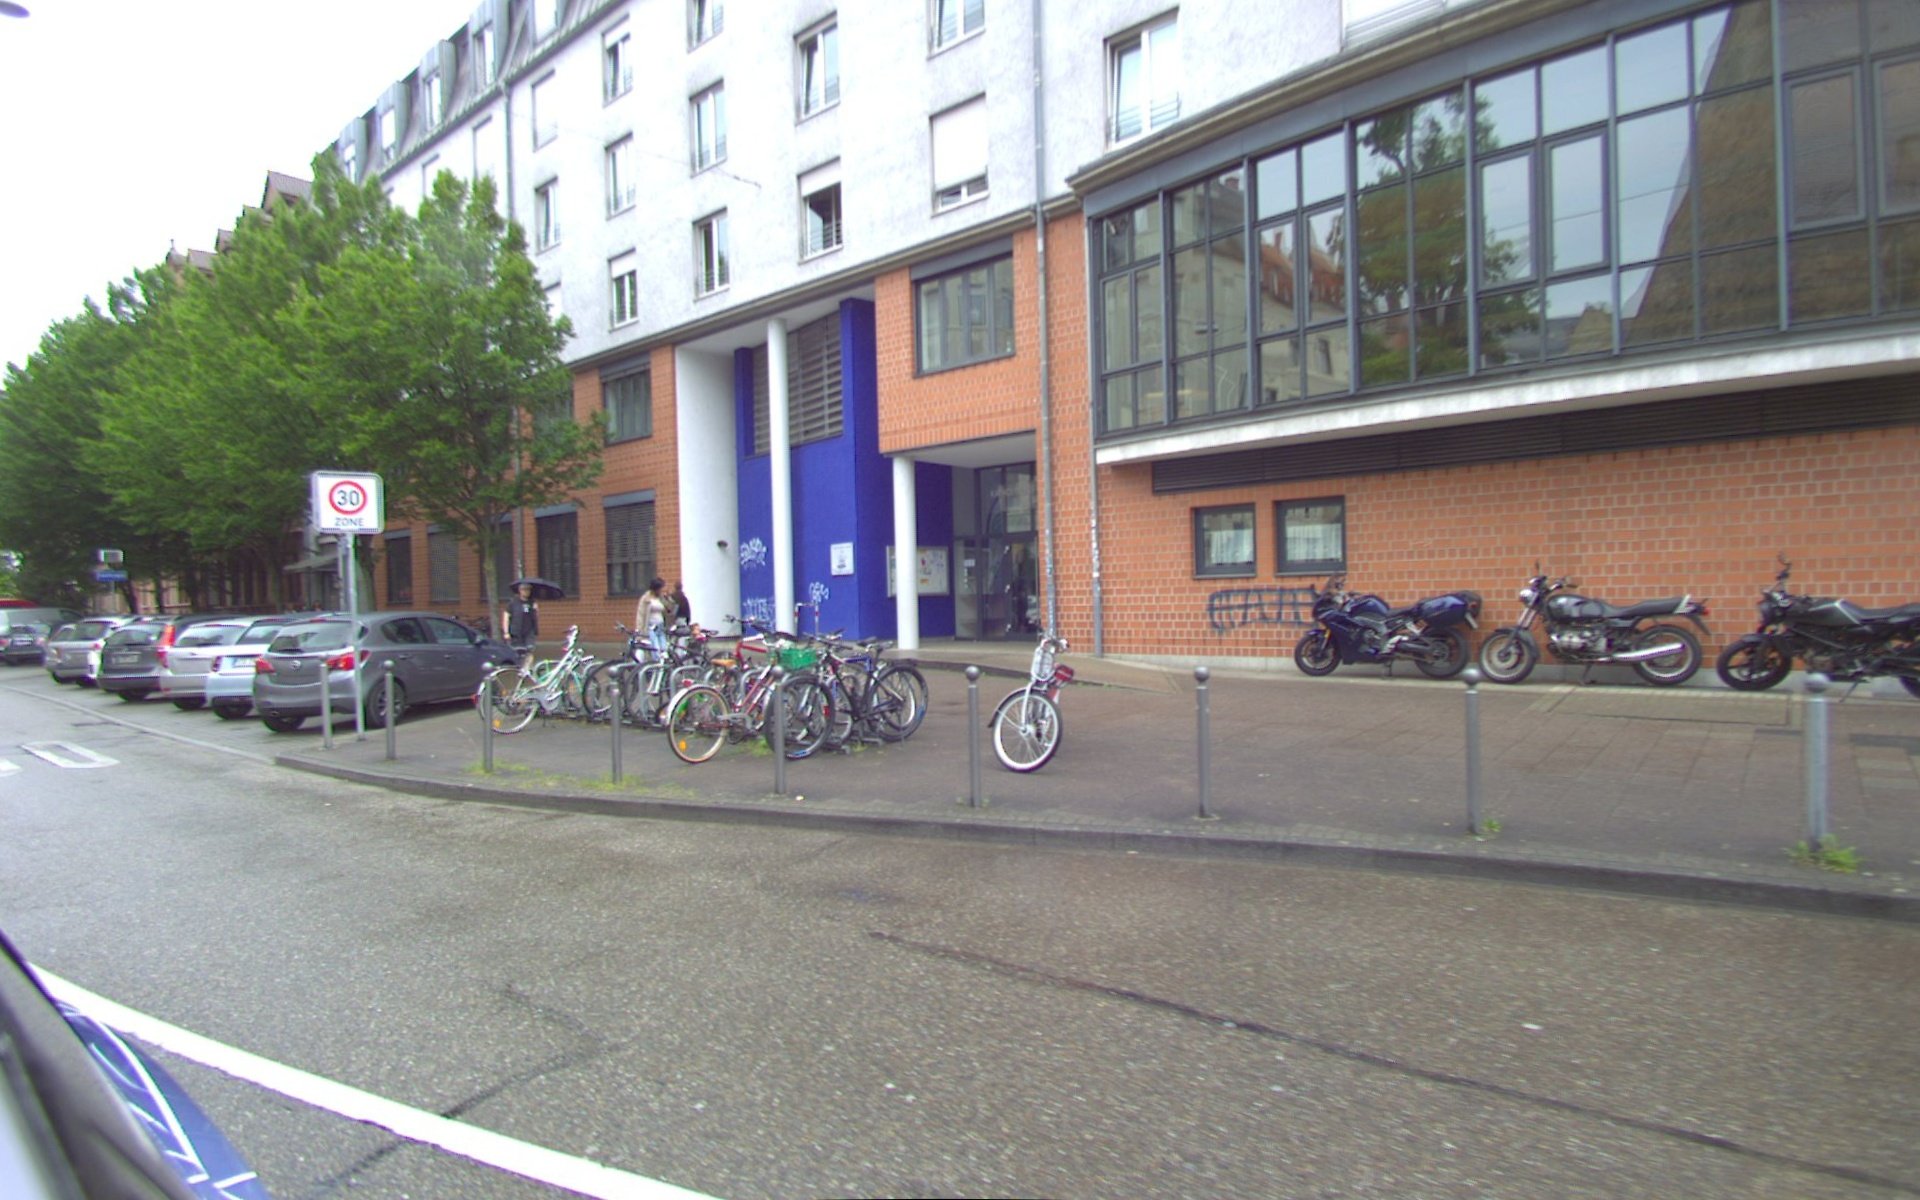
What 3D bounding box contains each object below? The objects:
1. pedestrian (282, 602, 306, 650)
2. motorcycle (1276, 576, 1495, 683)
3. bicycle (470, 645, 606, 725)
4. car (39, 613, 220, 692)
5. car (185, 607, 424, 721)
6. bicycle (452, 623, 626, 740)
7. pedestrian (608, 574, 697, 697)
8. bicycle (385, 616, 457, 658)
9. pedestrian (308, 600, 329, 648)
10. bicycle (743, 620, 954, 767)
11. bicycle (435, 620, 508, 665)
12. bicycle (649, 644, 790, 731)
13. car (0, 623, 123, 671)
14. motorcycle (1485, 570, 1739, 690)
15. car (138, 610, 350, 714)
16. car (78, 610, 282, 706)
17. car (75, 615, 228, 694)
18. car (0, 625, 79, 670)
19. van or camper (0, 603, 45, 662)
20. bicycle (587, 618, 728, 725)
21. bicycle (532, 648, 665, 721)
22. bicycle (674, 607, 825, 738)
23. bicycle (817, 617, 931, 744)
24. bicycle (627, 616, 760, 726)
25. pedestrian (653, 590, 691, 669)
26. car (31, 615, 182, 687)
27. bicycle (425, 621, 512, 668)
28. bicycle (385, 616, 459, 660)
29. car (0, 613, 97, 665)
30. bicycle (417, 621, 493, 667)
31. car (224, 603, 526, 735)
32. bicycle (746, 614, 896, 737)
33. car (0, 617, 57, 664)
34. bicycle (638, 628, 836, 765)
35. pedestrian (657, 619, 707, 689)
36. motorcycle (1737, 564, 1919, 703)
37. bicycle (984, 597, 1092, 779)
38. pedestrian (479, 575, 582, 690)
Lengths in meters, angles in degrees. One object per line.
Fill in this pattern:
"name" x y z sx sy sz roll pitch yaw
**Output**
"pedestrian" -22.551 0.876 34.263 0.372 1.622 0.597 -2 0 40
"motorcycle" 5.102 0.343 12.260 2.273 1.165 0.827 -2 1 43
"bicycle" -5.216 1.029 12.569 0.498 0.811 1.454 -1 2 44
"car" -18.854 1.154 23.106 1.358 1.567 2.970 -2 1 12
"car" -10.184 0.937 15.966 1.436 1.514 3.069 -2 1 10
"bicycle" -4.705 0.874 11.442 0.472 1.114 1.791 -1 2 36
"pedestrian" -4.591 0.517 15.104 0.859 1.719 0.817 -2 4 42
"bicycle" -13.489 0.908 25.363 0.444 0.992 1.573 -2 0 33
"pedestrian" -22.044 0.822 34.771 0.425 1.622 0.508 -2 0 42
"bicycle" -0.946 0.765 8.957 1.832 1.081 0.610 -3 1 -44
"bicycle" -11.727 1.005 24.350 0.444 0.992 1.573 -2 0 33
"bicycle" -2.611 0.931 11.195 0.455 0.767 1.756 -1 1 28
"car" -31.196 1.589 35.096 1.663 1.502 3.798 -1 -1 -9
"motorcycle" 6.932 0.314 10.845 2.203 1.165 0.643 -2 1 40
"car" -12.255 0.998 17.556 1.432 1.514 3.078 -2 1 1
"car" -14.644 1.026 19.204 1.432 1.564 3.078 -2 1 1
"car" -17.012 1.108 21.404 1.177 1.461 2.501 -2 1 1
"car" -33.682 1.674 36.066 1.663 1.502 3.798 -1 -1 -9
"van or camper" -44.003 1.465 45.050 1.985 2.632 4.576 -1 -1 14
"bicycle" -3.580 0.809 12.081 0.519 1.114 1.591 -1 1 36
"bicycle" -4.442 1.020 12.504 0.498 0.727 1.454 -1 2 44
"bicycle" -2.189 0.722 10.789 0.518 1.203 1.797 -1 1 28
"bicycle" -0.806 0.744 9.888 0.416 1.072 1.451 -2 1 25
"bicycle" -3.043 0.780 11.706 0.518 1.114 1.596 -1 1 28
"pedestrian" -5.735 0.585 20.154 0.547 1.541 0.509 -2 -1 38
"car" -20.931 1.207 24.917 1.138 1.567 2.672 -2 1 12
"bicycle" -11.288 0.997 23.304 0.444 0.992 1.830 -2 0 33
"bicycle" -13.163 0.917 24.791 0.444 0.992 1.573 -2 0 33
"car" -36.338 1.472 39.474 1.666 1.910 4.329 -1 -1 0
"bicycle" -11.724 1.002 23.523 0.444 0.992 1.573 -2 0 33
"car" -7.917 0.859 14.115 1.721 1.514 3.613 -1 1 10
"bicycle" -1.406 0.736 10.376 1.439 1.111 0.462 -3 1 -35
"car" -39.470 1.659 41.215 1.554 1.846 4.329 -1 -1 0
"bicycle" -1.946 0.809 9.081 0.519 1.000 1.778 -1 1 39
"pedestrian" -4.480 0.868 16.326 0.527 1.058 0.479 -2 4 40
"motorcycle" 8.320 0.281 9.127 0.516 1.190 2.010 -2 1 -29
"bicycle" 0.667 0.646 8.346 0.761 1.225 1.917 -1 3 6
"pedestrian" -7.669 0.554 18.105 1.055 1.894 1.213 -2 4 41
